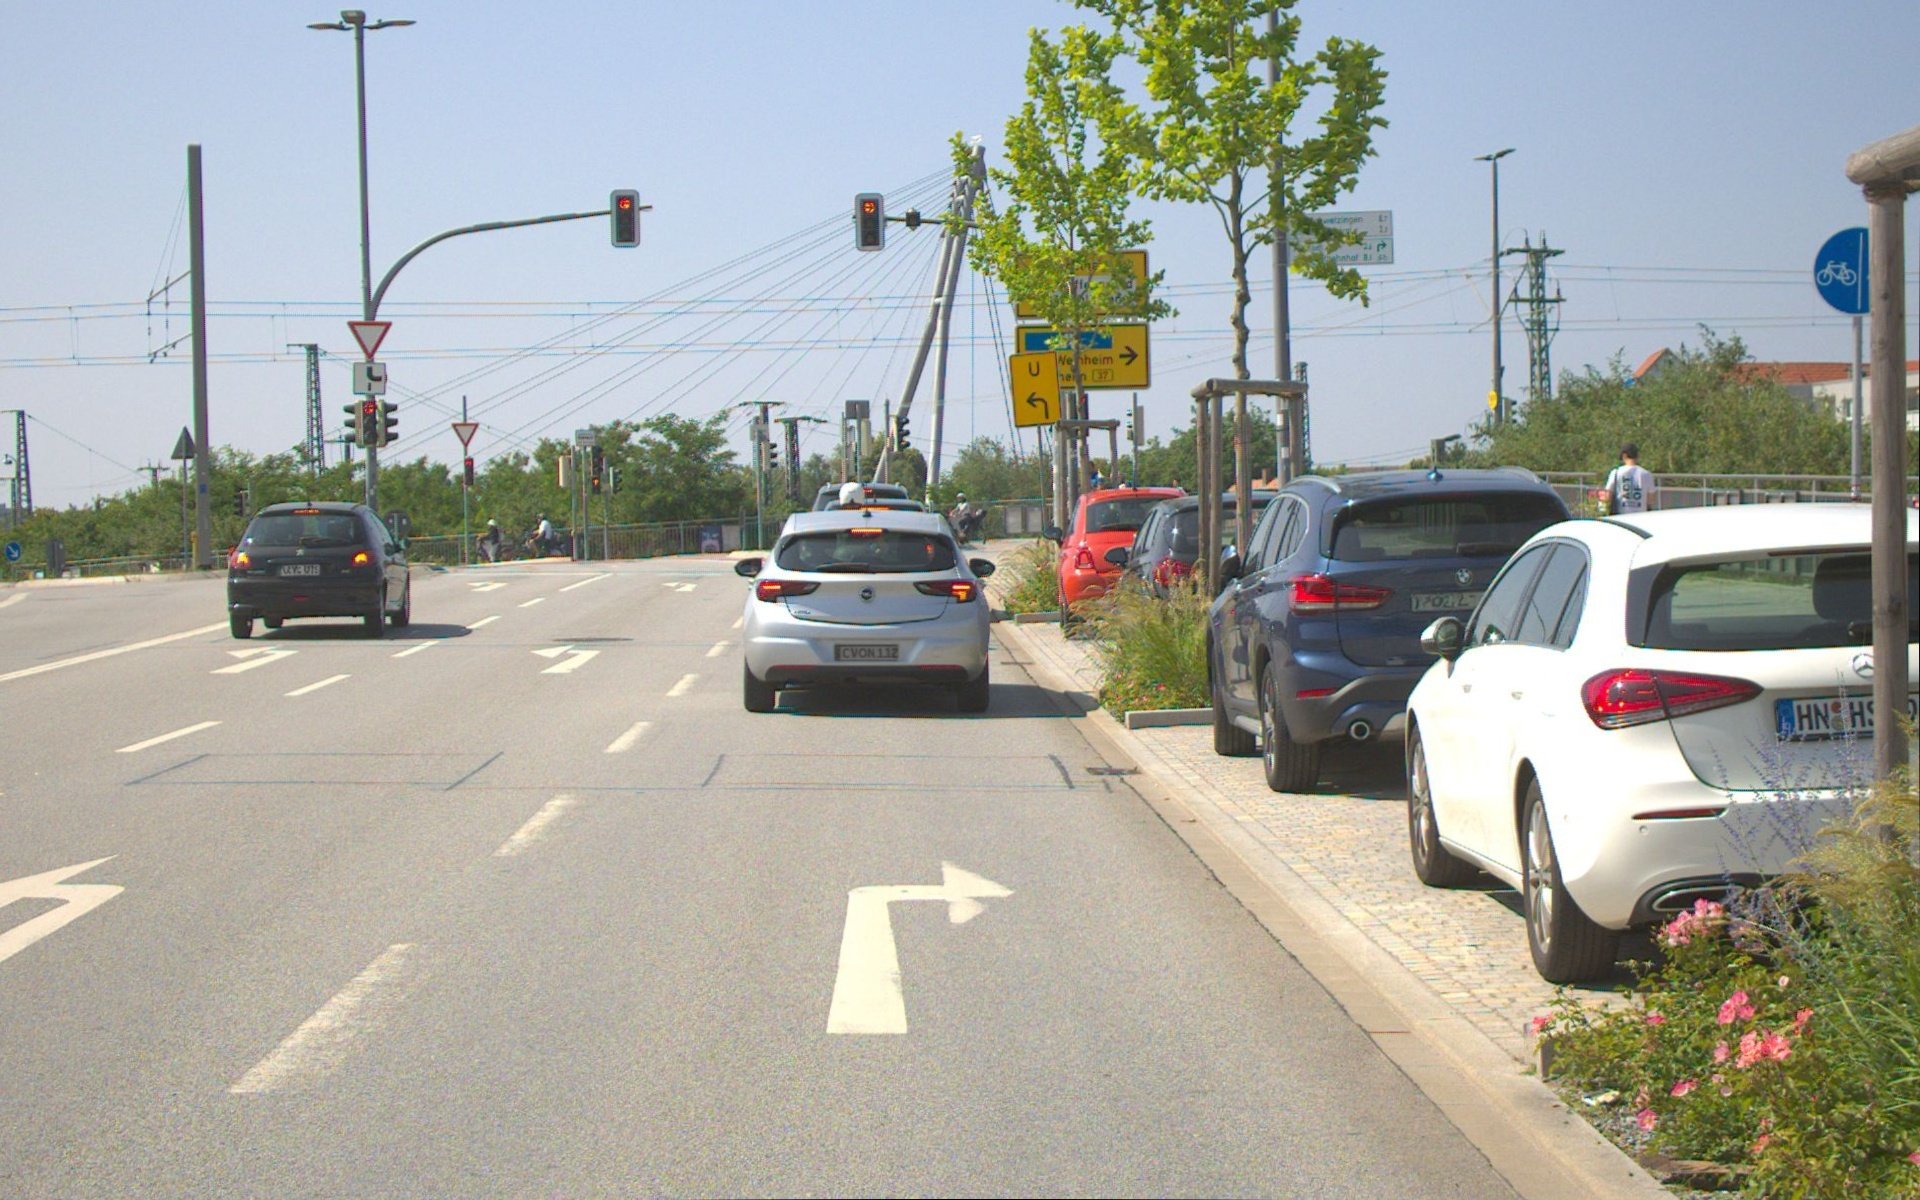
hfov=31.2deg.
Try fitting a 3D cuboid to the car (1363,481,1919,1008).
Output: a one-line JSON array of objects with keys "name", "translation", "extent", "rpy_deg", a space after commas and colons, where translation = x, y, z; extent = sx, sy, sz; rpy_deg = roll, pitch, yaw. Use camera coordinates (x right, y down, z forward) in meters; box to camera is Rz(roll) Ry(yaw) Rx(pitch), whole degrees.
[{"name": "car", "translation": [2.544, 0.357, 11.945], "extent": [1.696, 1.470, 4.206], "rpy_deg": [-2, 1, -1]}]

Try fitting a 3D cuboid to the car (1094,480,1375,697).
[{"name": "car", "translation": [2.158, -0.133, 28.065], "extent": [1.778, 1.498, 4.000], "rpy_deg": [-5, 1, -1]}]

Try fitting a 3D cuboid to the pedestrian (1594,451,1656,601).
[{"name": "pedestrian", "translation": [7.015, -0.776, 36.296], "extent": [0.533, 1.570, 0.524], "rpy_deg": [1, 0, -1]}]

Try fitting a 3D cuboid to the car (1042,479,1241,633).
[{"name": "car", "translation": [1.863, -0.485, 36.433], "extent": [1.778, 1.498, 4.000], "rpy_deg": [-2, 1, -1]}]

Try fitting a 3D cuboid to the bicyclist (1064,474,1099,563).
[{"name": "bicyclist", "translation": [2.266, -1.521, 64.182], "extent": [0.592, 1.638, 0.313], "rpy_deg": [1, 0, -7]}]

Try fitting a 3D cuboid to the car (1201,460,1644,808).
[{"name": "car", "translation": [2.367, 0.112, 18.451], "extent": [1.822, 1.611, 3.611], "rpy_deg": [-2, 2, 0]}]

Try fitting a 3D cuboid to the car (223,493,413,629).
[{"name": "car", "translation": [-6.994, -0.443, 37.726], "extent": [1.619, 1.411, 3.728], "rpy_deg": [0, 1, -4]}]

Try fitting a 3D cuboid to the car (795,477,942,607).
[{"name": "car", "translation": [-1.159, -0.778, 44.089], "extent": [1.778, 1.563, 4.001], "rpy_deg": [-1, 2, -1]}]

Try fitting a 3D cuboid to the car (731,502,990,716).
[{"name": "car", "translation": [-0.732, 0.006, 25.936], "extent": [1.778, 1.437, 4.001], "rpy_deg": [-1, 2, -1]}]

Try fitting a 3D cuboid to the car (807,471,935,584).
[{"name": "car", "translation": [-1.291, -1.087, 50.470], "extent": [1.778, 1.563, 4.001], "rpy_deg": [-1, 2, -1]}]

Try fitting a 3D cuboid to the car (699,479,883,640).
[{"name": "car", "translation": [-1.710, -0.467, 35.881], "extent": [1.778, 1.563, 4.001], "rpy_deg": [-1, 2, -1]}]
